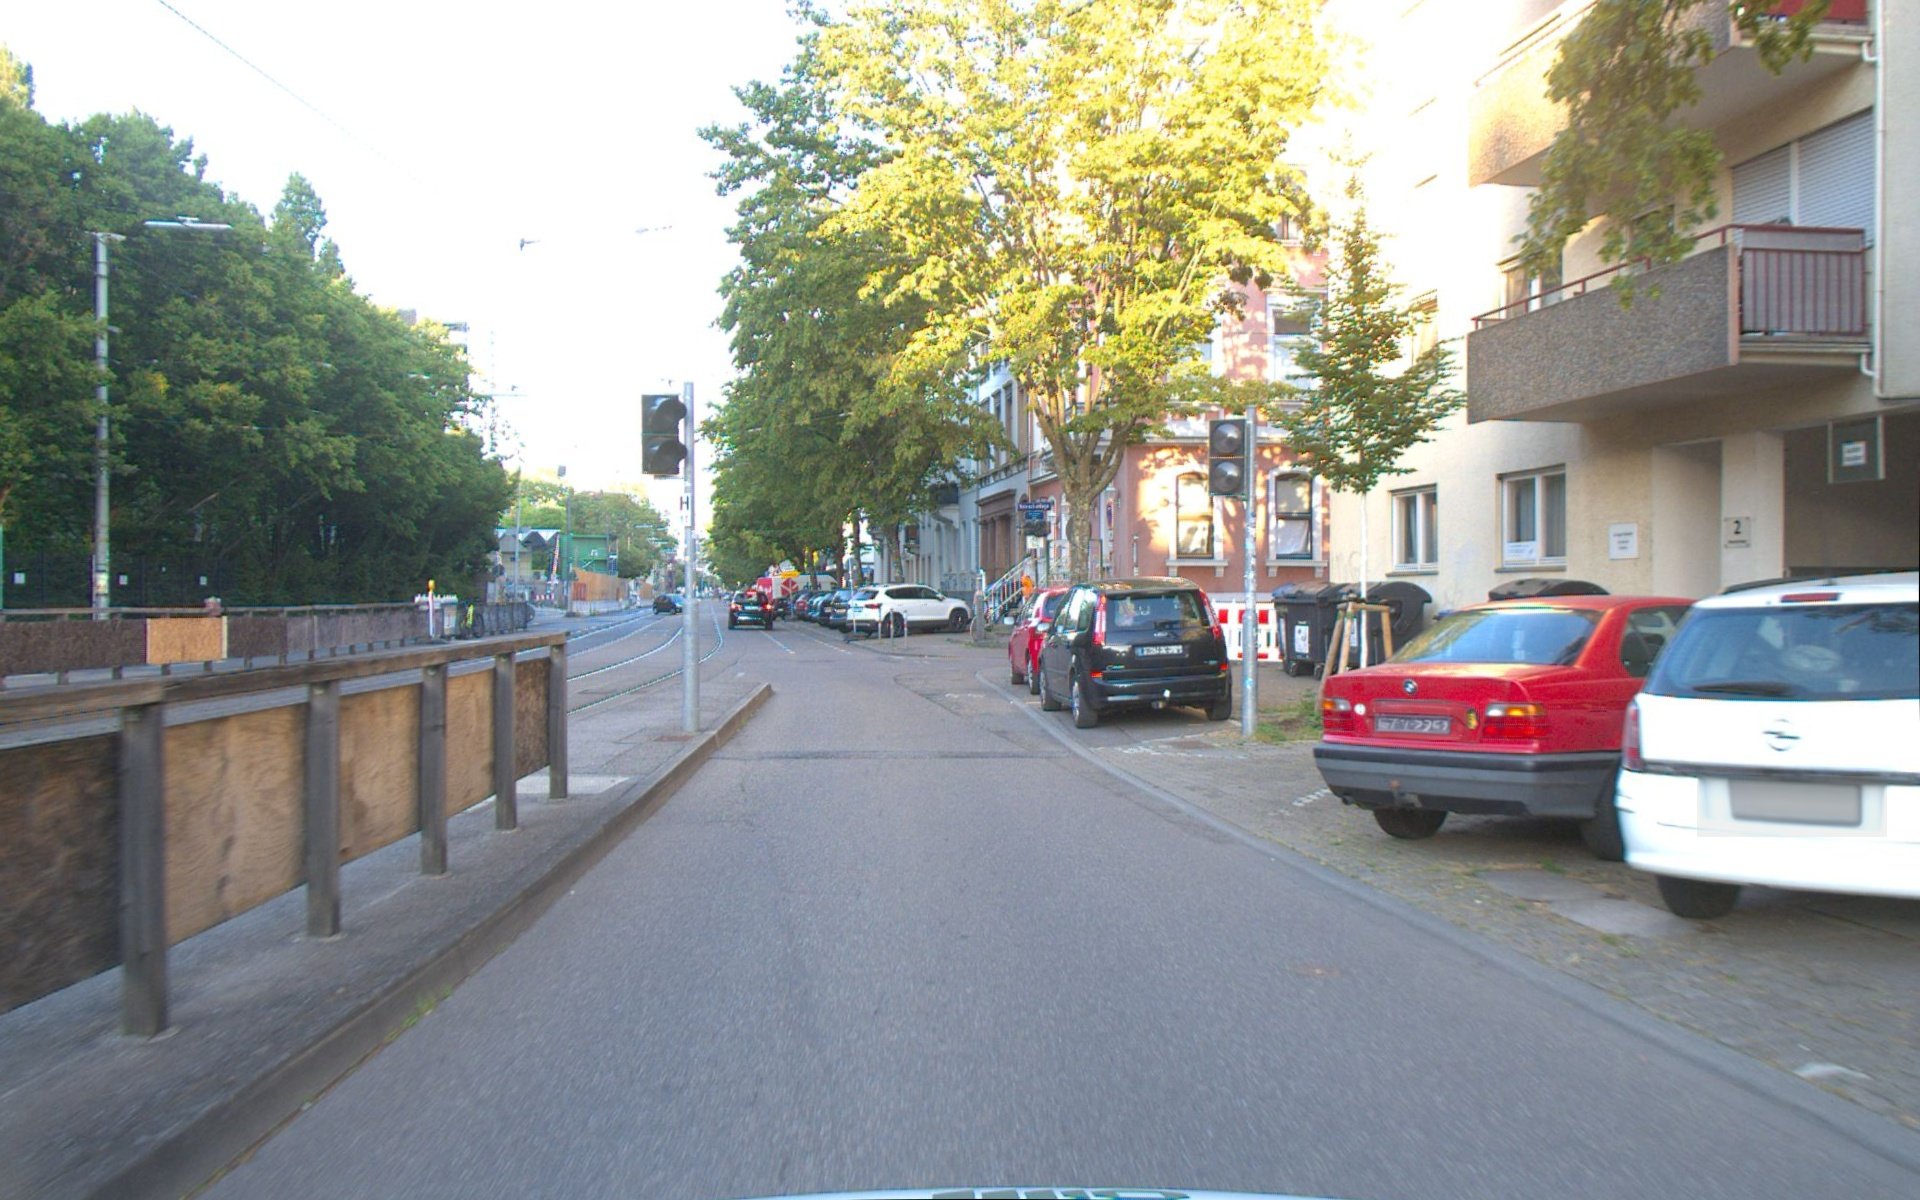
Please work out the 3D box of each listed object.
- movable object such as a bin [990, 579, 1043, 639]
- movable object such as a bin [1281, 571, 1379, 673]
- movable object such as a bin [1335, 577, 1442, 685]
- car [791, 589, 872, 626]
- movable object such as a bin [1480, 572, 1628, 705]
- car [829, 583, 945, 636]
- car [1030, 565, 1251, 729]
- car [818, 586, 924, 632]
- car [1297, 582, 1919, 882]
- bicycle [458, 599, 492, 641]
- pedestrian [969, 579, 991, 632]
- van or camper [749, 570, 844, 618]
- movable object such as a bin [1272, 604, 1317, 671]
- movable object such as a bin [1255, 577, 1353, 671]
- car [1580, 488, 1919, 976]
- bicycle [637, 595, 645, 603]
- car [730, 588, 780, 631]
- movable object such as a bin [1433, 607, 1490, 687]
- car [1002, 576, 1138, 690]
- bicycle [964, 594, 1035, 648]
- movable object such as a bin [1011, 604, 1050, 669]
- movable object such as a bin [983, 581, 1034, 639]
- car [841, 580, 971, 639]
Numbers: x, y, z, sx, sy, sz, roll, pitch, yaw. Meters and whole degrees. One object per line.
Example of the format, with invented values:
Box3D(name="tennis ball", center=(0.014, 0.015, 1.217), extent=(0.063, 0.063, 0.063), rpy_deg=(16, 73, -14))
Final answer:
Box3D(name="movable object such as a bin", center=(1.457, 0.224, 42.621), extent=(1.119, 1.528, 1.396), rpy_deg=(0, 0, -9))
Box3D(name="movable object such as a bin", center=(5.699, 0.325, 25.570), extent=(1.053, 1.528, 1.315), rpy_deg=(0, 0, -11))
Box3D(name="movable object such as a bin", center=(6.258, 0.438, 24.217), extent=(1.119, 1.528, 1.268), rpy_deg=(0, 0, -9))
Box3D(name="car", center=(-6.877, 0.394, 88.528), extent=(3.912, 1.631, 1.817), rpy_deg=(-5, 1, -36))
Box3D(name="movable object such as a bin", center=(7.082, 0.442, 19.798), extent=(1.093, 1.528, 1.479), rpy_deg=(0, 0, -9))
Box3D(name="car", center=(-2.618, 0.326, 59.759), extent=(1.869, 1.697, 3.929), rpy_deg=(-3, 1, 44))
Box3D(name="car", center=(1.998, 0.484, 19.485), extent=(1.710, 1.660, 4.083), rpy_deg=(-2, 0, -6))
Box3D(name="car", center=(-3.553, 0.361, 66.123), extent=(3.920, 1.631, 1.813), rpy_deg=(-3, 0, -41))
Box3D(name="car", center=(4.077, 0.646, 10.080), extent=(4.163, 1.479, 1.624), rpy_deg=(0, 0, -36))
Box3D(name="bicycle", center=(-13.219, 0.529, 45.115), extent=(0.453, 1.094, 2.020), rpy_deg=(-1, 0, -5))
Box3D(name="pedestrian", center=(0.615, 0.172, 51.324), extent=(0.575, 1.637, 0.623), rpy_deg=(0, 0, -9))
Box3D(name="van or camper", center=(-9.864, -0.358, 100.011), extent=(5.508, 2.574, 2.053), rpy_deg=(-4, 1, -44))
Box3D(name="movable object such as a bin", center=(5.364, 0.594, 26.540), extent=(0.543, 1.066, 0.569), rpy_deg=(0, 0, -10))
Box3D(name="movable object such as a bin", center=(5.760, 0.388, 27.776), extent=(1.119, 1.528, 1.595), rpy_deg=(0, 0, -9))
Box3D(name="car", center=(4.667, 0.469, 7.720), extent=(4.176, 1.755, 1.695), rpy_deg=(0, 0, -43))
Box3D(name="bicycle", center=(-38.415, -0.130, 198.872), extent=(0.931, 0.864, 2.689), rpy_deg=(0, 0, -11))
Box3D(name="car", center=(-8.432, 0.389, 67.705), extent=(1.847, 1.648, 3.991), rpy_deg=(2, 0, -9))
Box3D(name="movable object such as a bin", center=(6.803, 0.626, 22.433), extent=(0.543, 1.066, 0.569), rpy_deg=(0, 0, -10))
Box3D(name="car", center=(1.611, 0.459, 25.265), extent=(1.534, 1.563, 3.690), rpy_deg=(-2, 0, -4))
Box3D(name="bicycle", center=(0.980, 0.505, 40.902), extent=(1.904, 1.288, 0.592), rpy_deg=(-1, 0, -44))
Box3D(name="movable object such as a bin", center=(1.295, 0.665, 30.201), extent=(0.697, 1.174, 0.588), rpy_deg=(0, 0, 3))
Box3D(name="movable object such as a bin", center=(1.283, 0.258, 44.099), extent=(1.119, 1.528, 1.396), rpy_deg=(0, 0, -9))
Box3D(name="car", center=(-1.684, 0.279, 52.365), extent=(3.918, 1.655, 1.650), rpy_deg=(-3, 2, -40))
